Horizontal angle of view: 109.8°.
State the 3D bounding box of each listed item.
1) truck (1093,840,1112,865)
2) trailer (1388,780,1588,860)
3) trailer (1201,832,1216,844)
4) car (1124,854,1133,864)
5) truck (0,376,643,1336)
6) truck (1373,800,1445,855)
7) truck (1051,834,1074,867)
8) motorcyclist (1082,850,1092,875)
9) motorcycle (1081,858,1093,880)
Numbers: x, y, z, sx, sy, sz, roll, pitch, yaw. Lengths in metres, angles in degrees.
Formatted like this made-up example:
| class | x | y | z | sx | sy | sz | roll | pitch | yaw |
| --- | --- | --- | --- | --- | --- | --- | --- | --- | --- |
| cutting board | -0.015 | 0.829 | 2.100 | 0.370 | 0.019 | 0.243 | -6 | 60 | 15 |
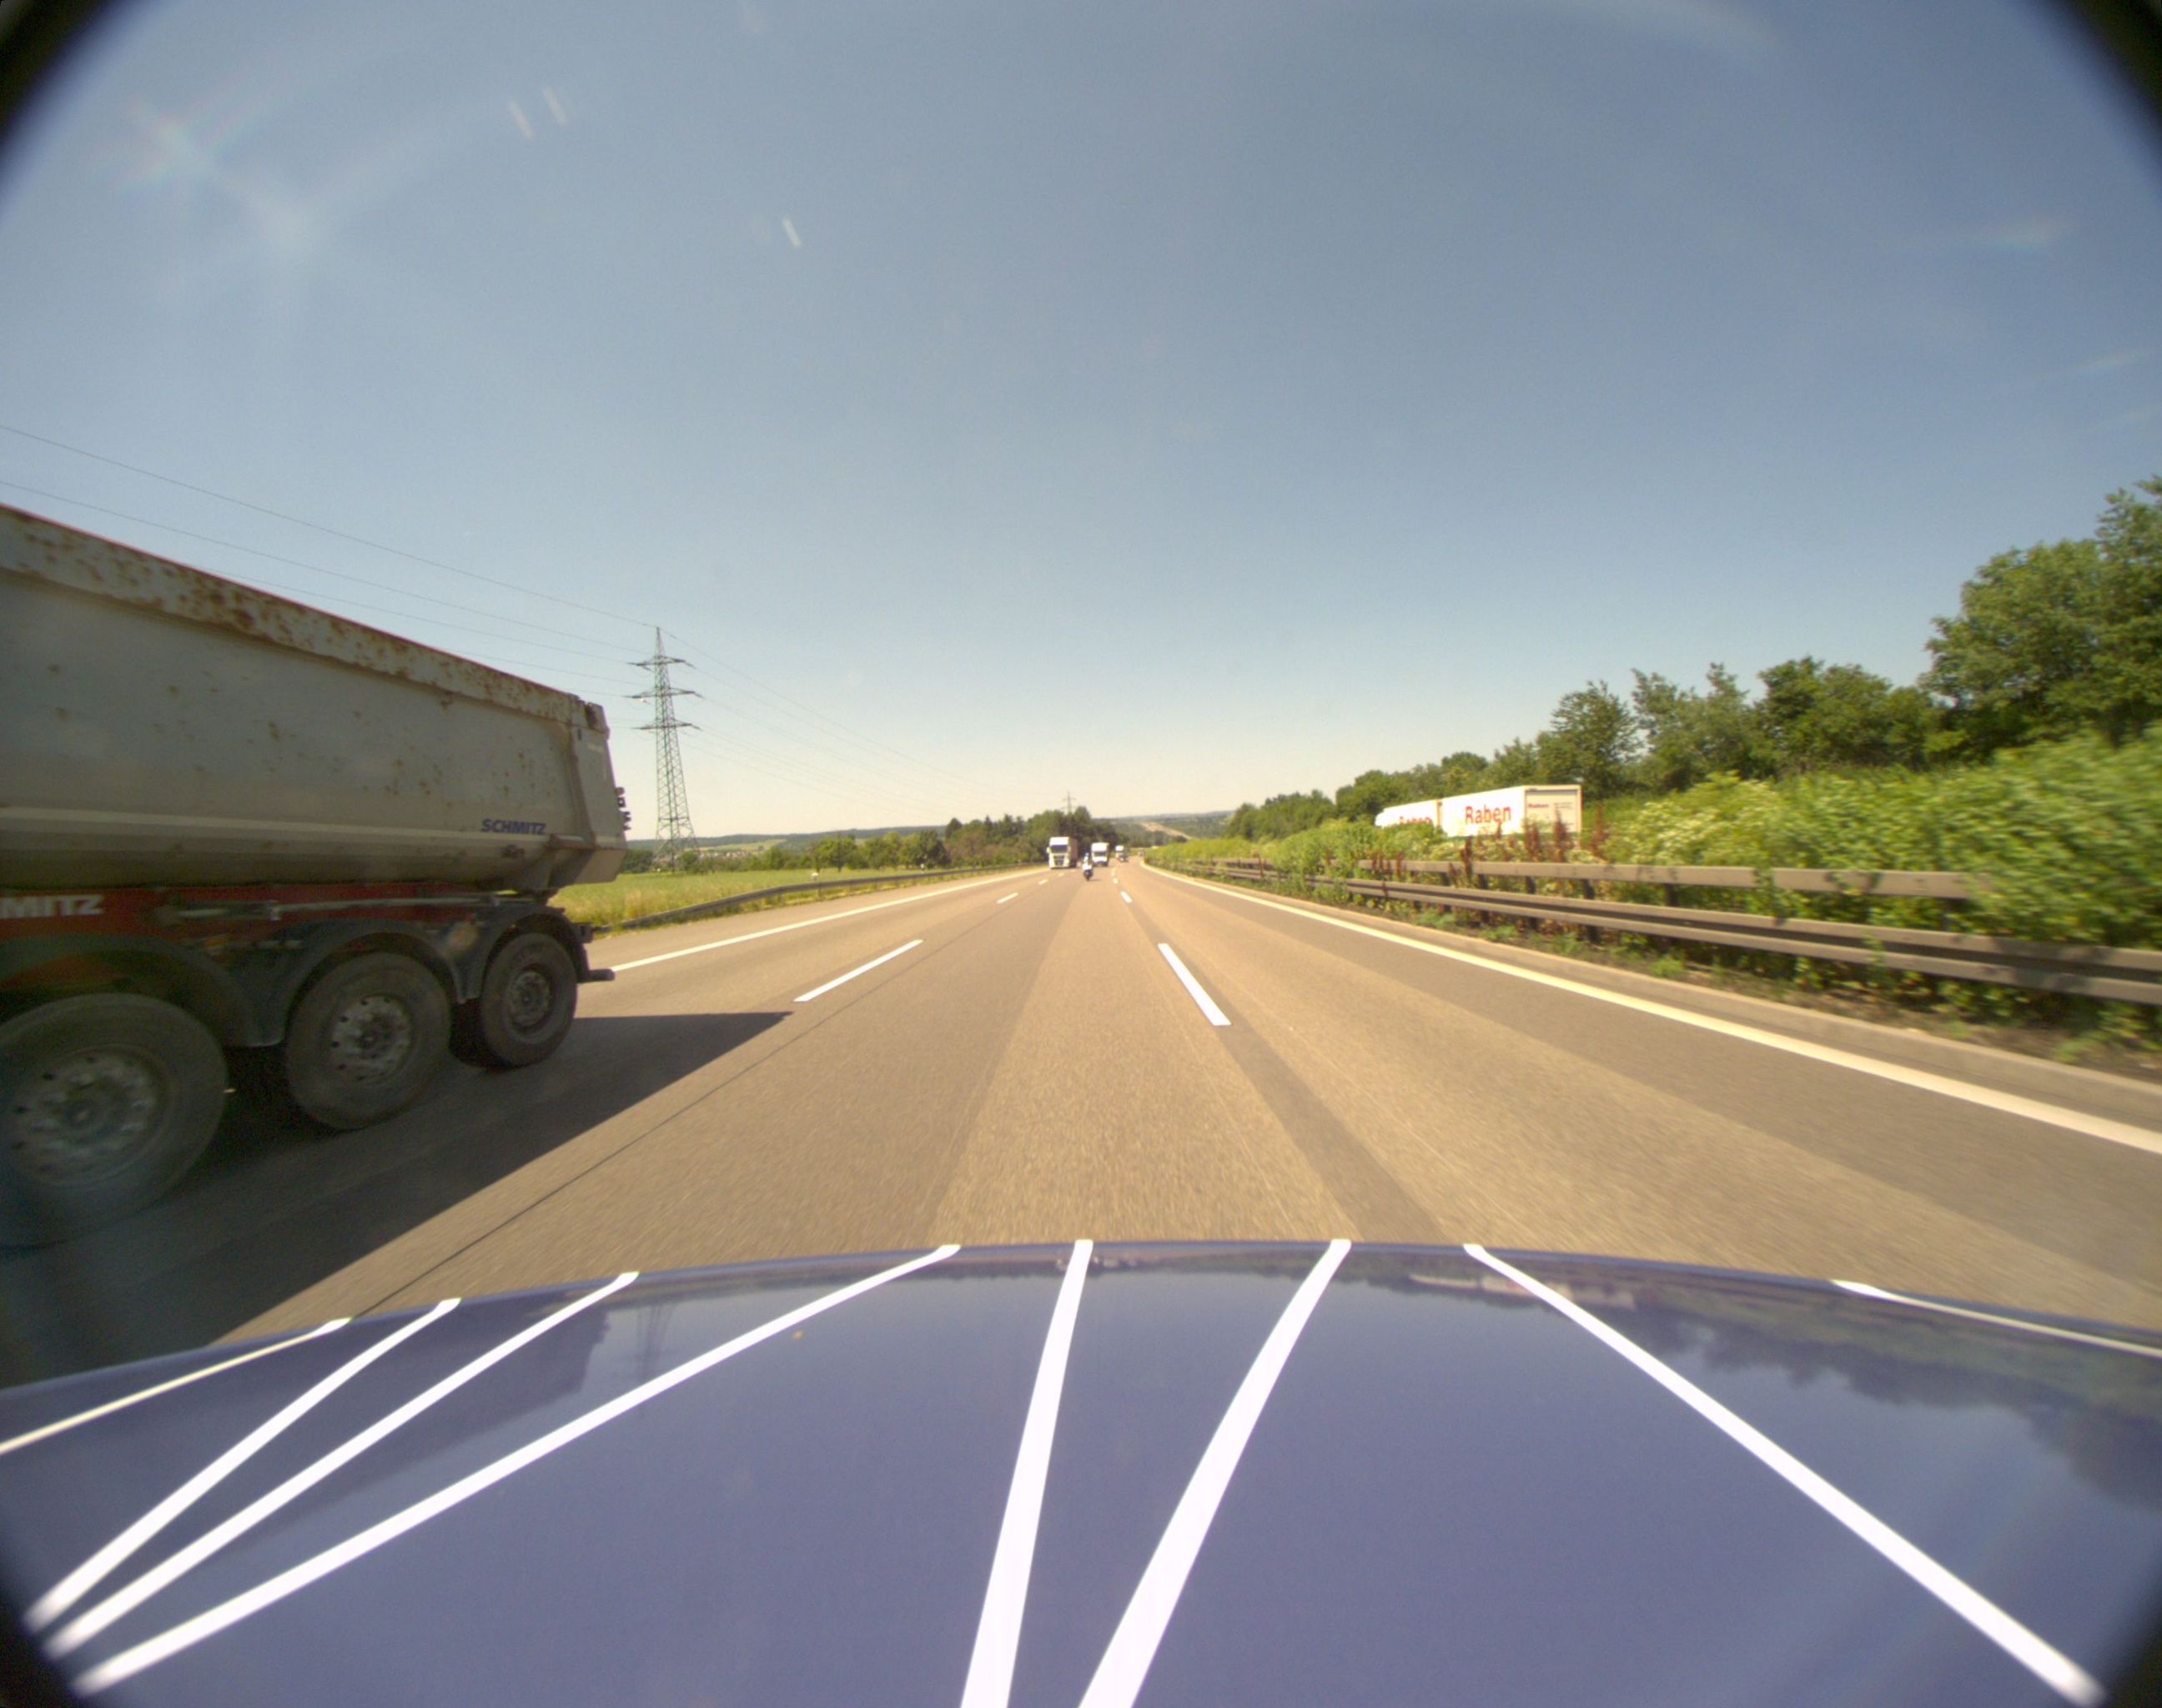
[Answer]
| class | x | y | z | sx | sy | sz | roll | pitch | yaw |
| --- | --- | --- | --- | --- | --- | --- | --- | --- | --- |
| truck | 2.986 | -0.219 | 106.424 | 2.512 | 3.268 | 8.107 | -1 | 1 | 1 |
| trailer | 21.052 | -1.561 | 41.269 | 2.604 | 3.423 | 15.829 | -2 | 0 | 1 |
| trailer | 31.088 | -3.901 | 186.107 | 2.572 | 2.694 | 11.410 | -2 | 0 | 5 |
| car | 10.340 | 1.112 | 165.661 | 1.704 | 1.958 | 4.000 | -2 | 1 | 3 |
| truck | -5.606 | 0.042 | 0.702 | 2.872 | 3.702 | 12.761 | -2 | 0 | 0 |
| truck | 21.238 | -1.681 | 49.477 | 2.603 | 3.331 | 5.045 | -2 | 1 | 2 |
| truck | -2.328 | -0.511 | 100.162 | 2.567 | 4.129 | 6.248 | -2 | 1 | 2 |
| motorcyclist | 0.366 | 0.513 | 47.058 | 0.613 | 1.499 | 0.513 | -2 | 1 | 0 |
| motorcycle | 0.369 | 0.886 | 46.941 | 0.631 | 1.279 | 2.312 | -2 | 0 | 0 |
